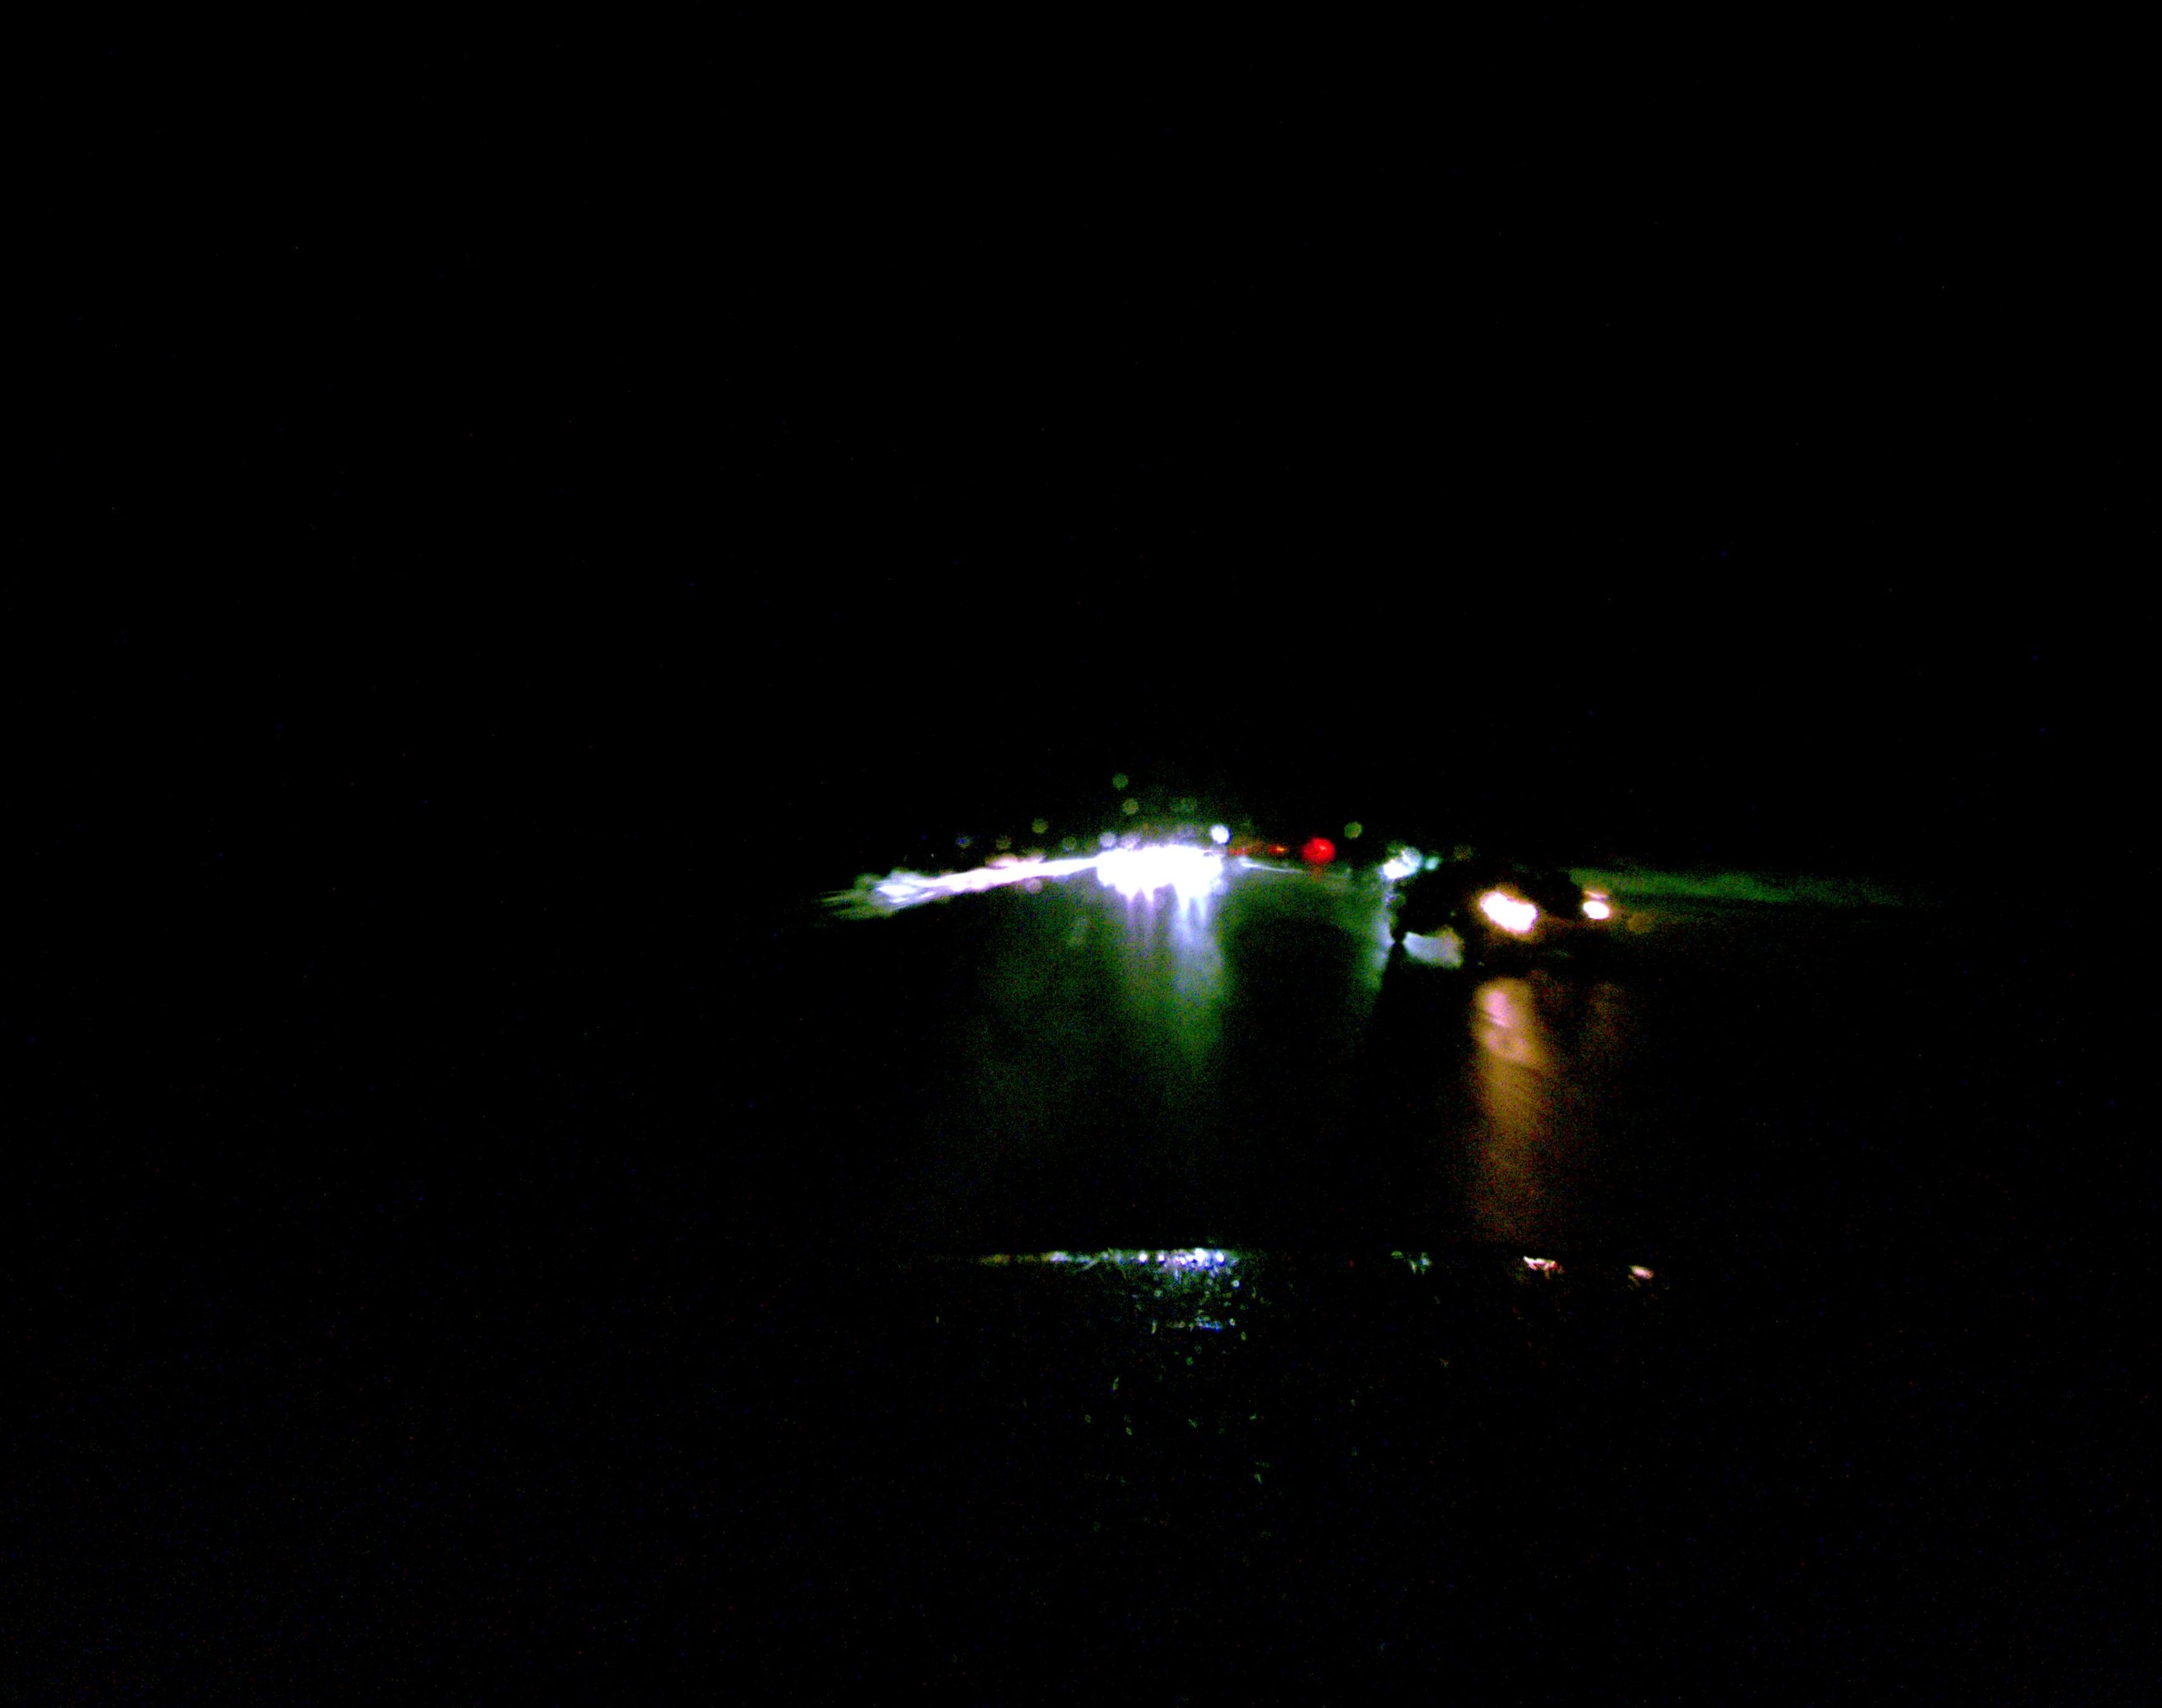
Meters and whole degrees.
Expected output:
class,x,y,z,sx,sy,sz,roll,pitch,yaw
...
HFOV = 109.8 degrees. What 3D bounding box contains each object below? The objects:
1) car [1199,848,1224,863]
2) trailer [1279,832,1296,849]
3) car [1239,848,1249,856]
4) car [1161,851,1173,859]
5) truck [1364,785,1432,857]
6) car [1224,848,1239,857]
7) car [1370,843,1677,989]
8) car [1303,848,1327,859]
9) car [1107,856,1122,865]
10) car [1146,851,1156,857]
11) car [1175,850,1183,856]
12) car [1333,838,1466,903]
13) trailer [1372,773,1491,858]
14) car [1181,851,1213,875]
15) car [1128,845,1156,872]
class,x,y,z,sx,sy,sz,roll,pitch,yaw
car,14.969,0.177,87.279,2.310,1.600,3.871,-3,1,3
trailer,63.002,-4.096,232.047,3.271,5.039,13.978,-3,1,8
car,39.398,-0.520,183.808,1.997,1.587,5.023,-5,0,7
car,13.229,0.116,116.776,1.692,1.149,3.421,-3,1,5
truck,29.661,-3.004,71.453,3.470,6.092,6.173,-6,0,3
car,28.979,-0.307,146.619,1.998,1.586,4.674,-5,0,3
car,5.858,0.691,10.792,1.920,1.585,4.233,-3,1,1
car,27.762,-0.040,90.309,1.706,1.148,3.658,-3,1,0
car,4.937,0.983,112.705,1.998,1.149,4.001,-3,1,4
car,15.347,0.064,165.928,1.998,1.149,4.001,-3,1,6
car,21.746,-0.294,168.587,1.692,1.149,3.421,-5,0,6
car,9.826,0.450,23.943,1.999,1.767,4.886,-3,1,-1
trailer,29.357,-2.948,64.844,3.470,6.092,14.409,-6,0,3
car,8.789,0.654,57.945,1.998,1.667,4.000,-3,1,3
car,4.900,0.357,61.409,1.998,2.002,4.000,-3,1,2
